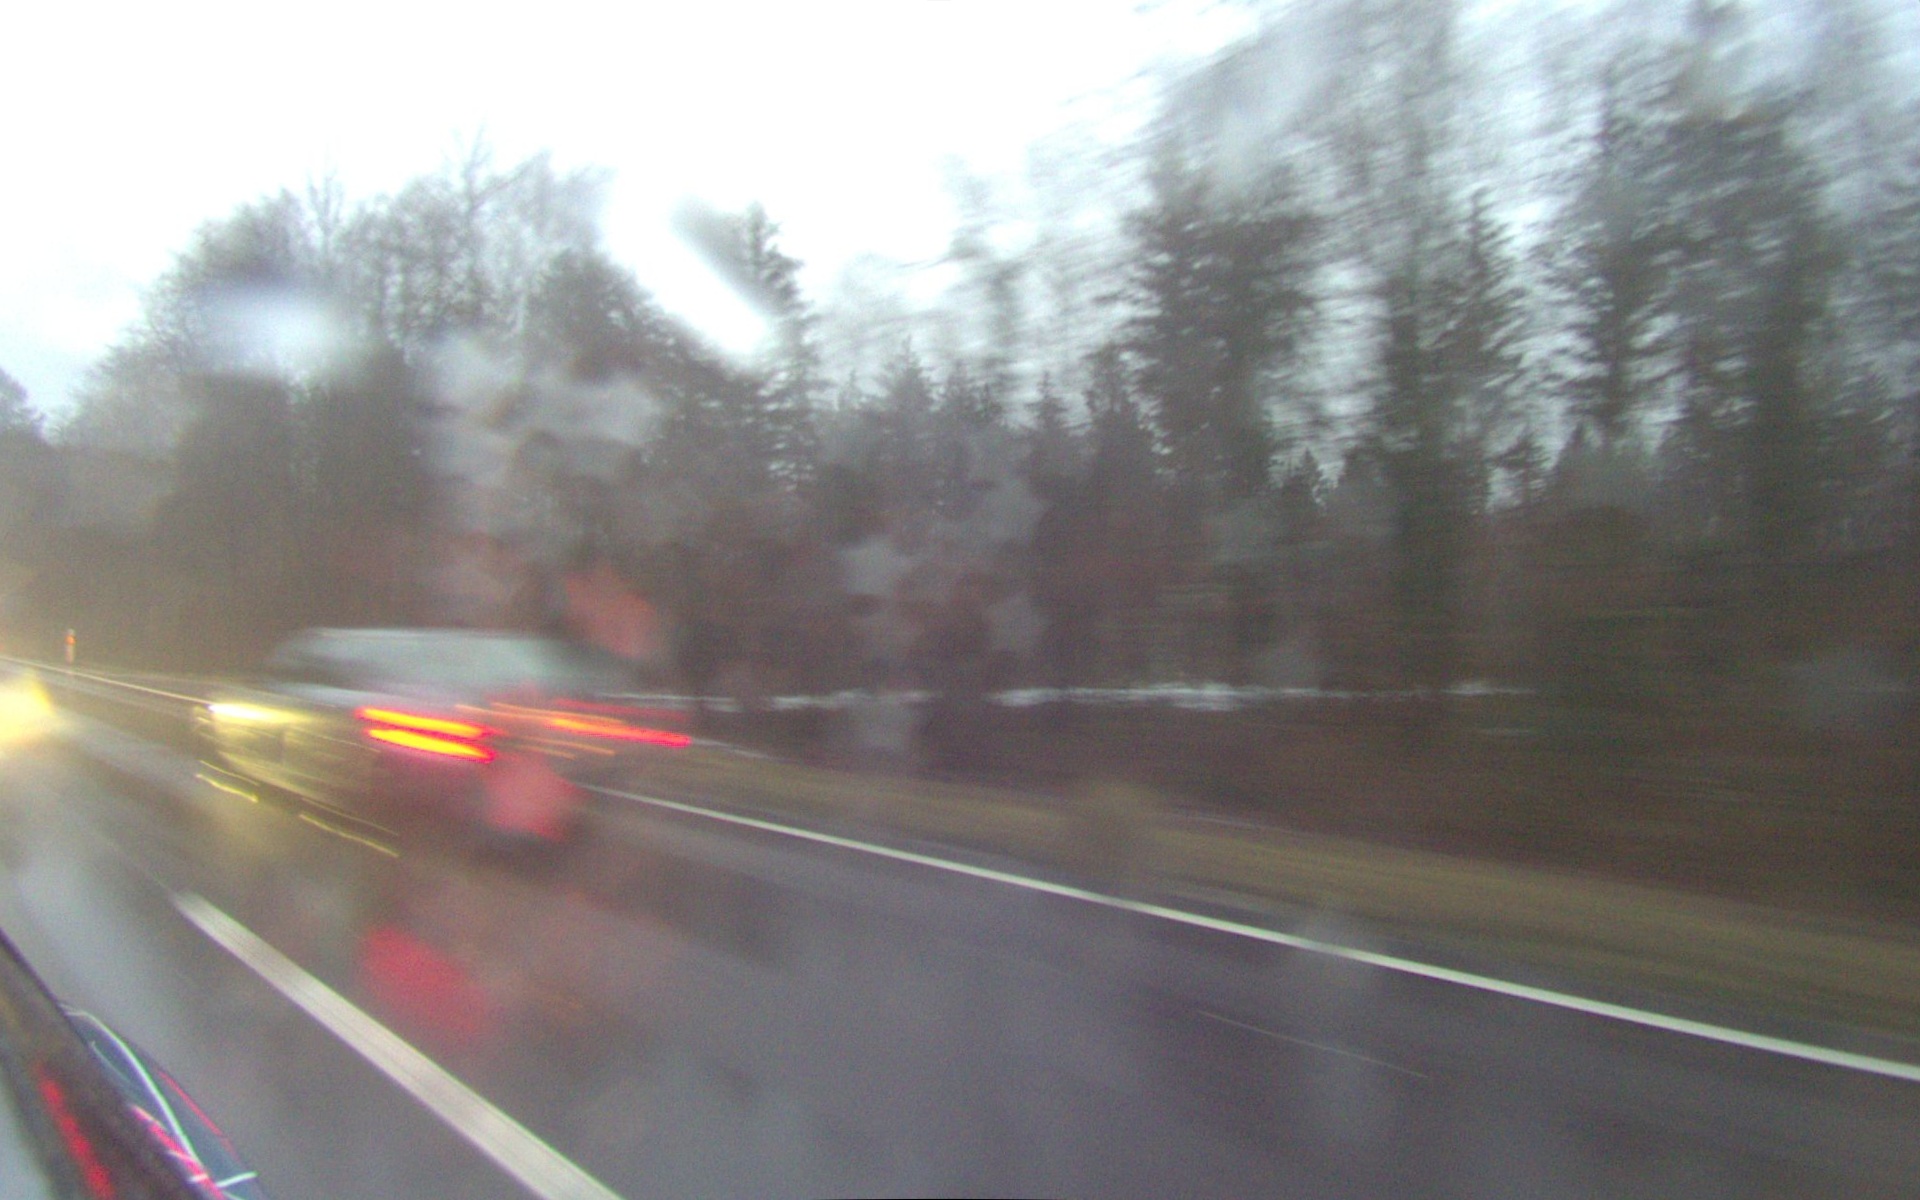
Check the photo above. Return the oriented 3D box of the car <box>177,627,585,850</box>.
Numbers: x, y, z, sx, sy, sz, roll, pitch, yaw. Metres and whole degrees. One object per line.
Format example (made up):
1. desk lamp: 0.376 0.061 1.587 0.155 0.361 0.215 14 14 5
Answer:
1. car: -4.889 0.926 8.308 4.068 1.400 1.602 -1 -2 40
